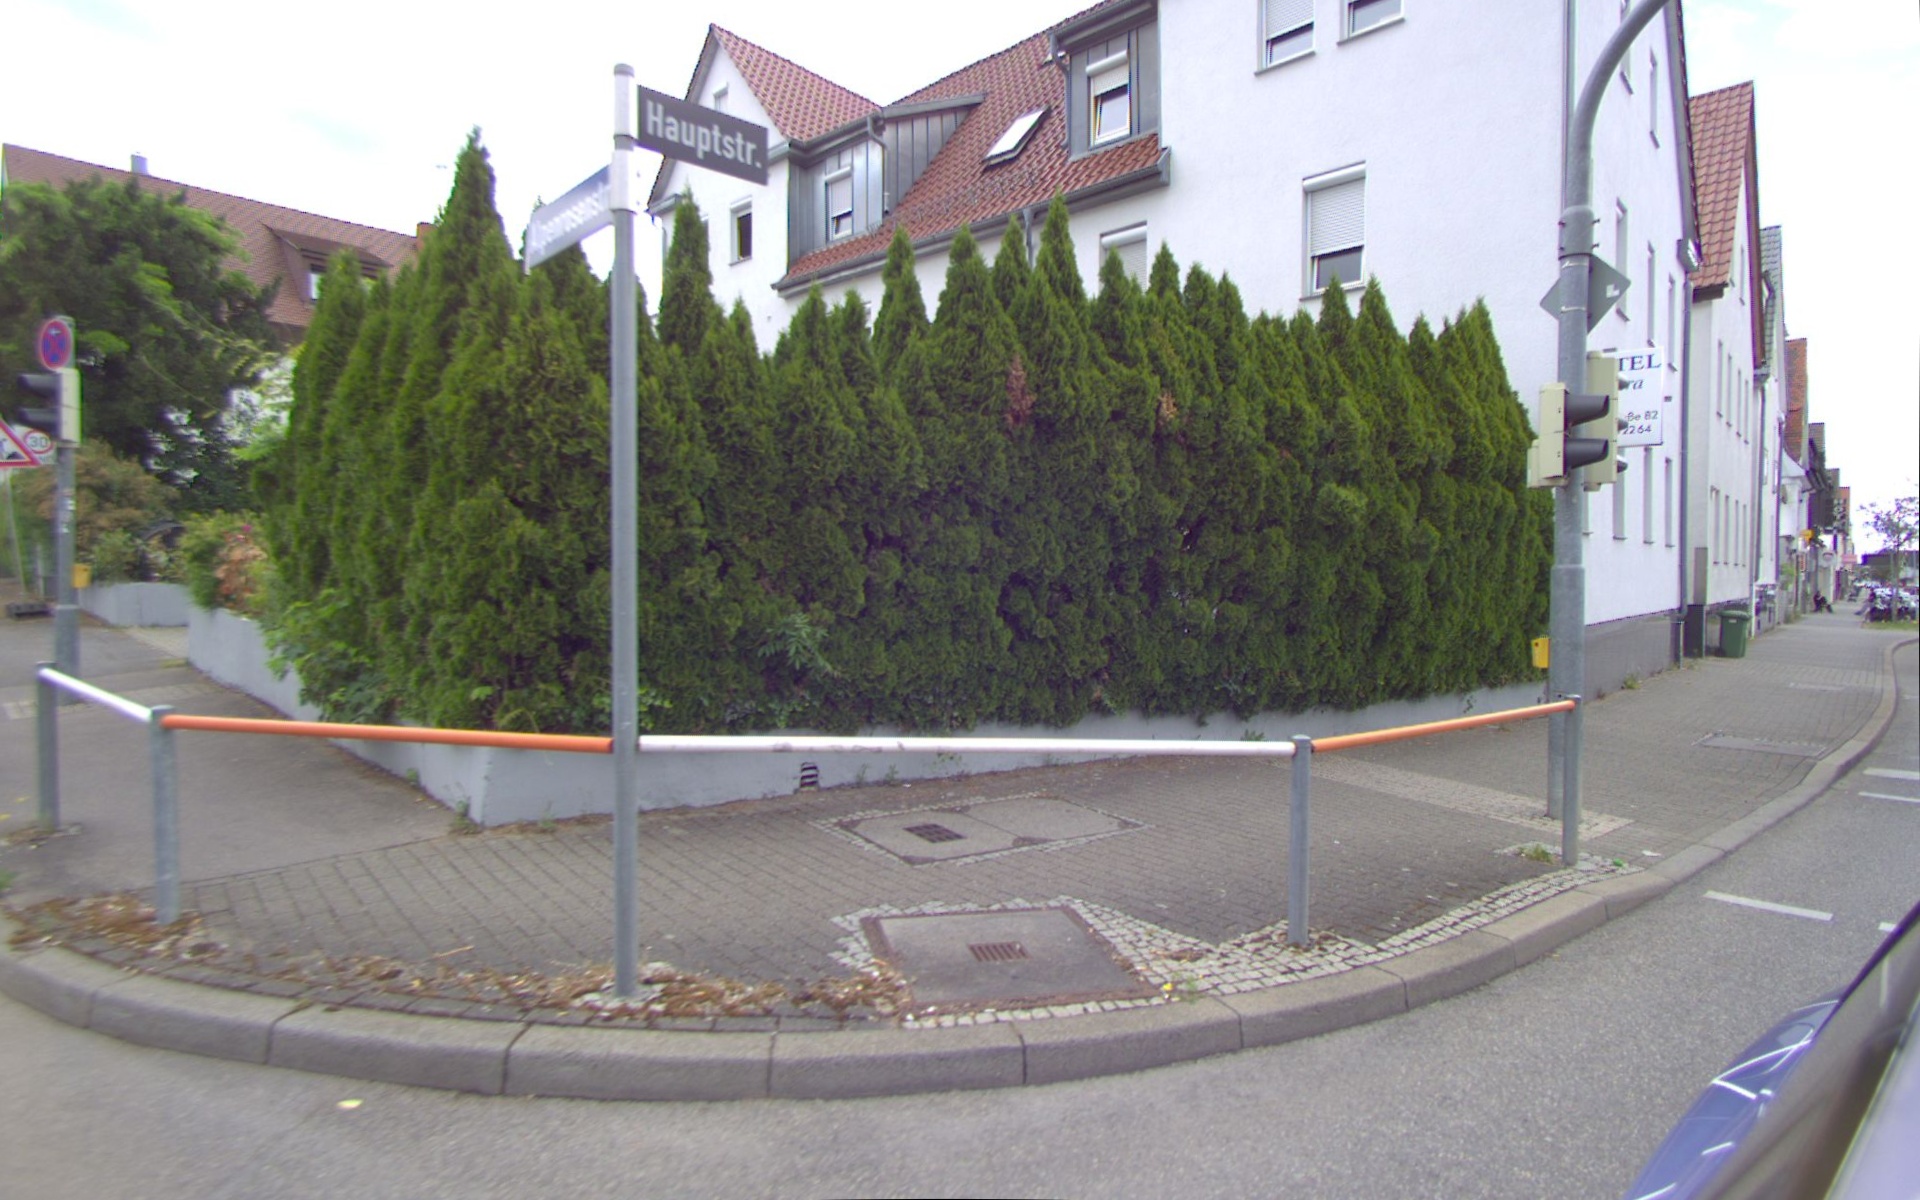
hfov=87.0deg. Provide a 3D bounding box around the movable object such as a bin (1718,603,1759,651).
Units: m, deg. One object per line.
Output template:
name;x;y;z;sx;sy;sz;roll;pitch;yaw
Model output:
movable object such as a bin;15.736;0.532;20.454;0.564;0.914;0.511;3;3;45

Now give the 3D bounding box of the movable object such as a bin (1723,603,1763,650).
movable object such as a bin;16.165;0.531;20.893;0.564;0.914;0.511;3;3;45

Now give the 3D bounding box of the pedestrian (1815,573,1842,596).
pedestrian;49.701;-0.884;57.913;0.653;1.295;0.984;0;2;-34

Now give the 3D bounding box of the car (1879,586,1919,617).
car;49.582;0.050;53.193;1.840;1.538;3.940;0;1;42

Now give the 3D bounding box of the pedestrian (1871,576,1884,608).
pedestrian;51.684;-0.471;57.027;0.496;1.776;0.444;2;2;45
